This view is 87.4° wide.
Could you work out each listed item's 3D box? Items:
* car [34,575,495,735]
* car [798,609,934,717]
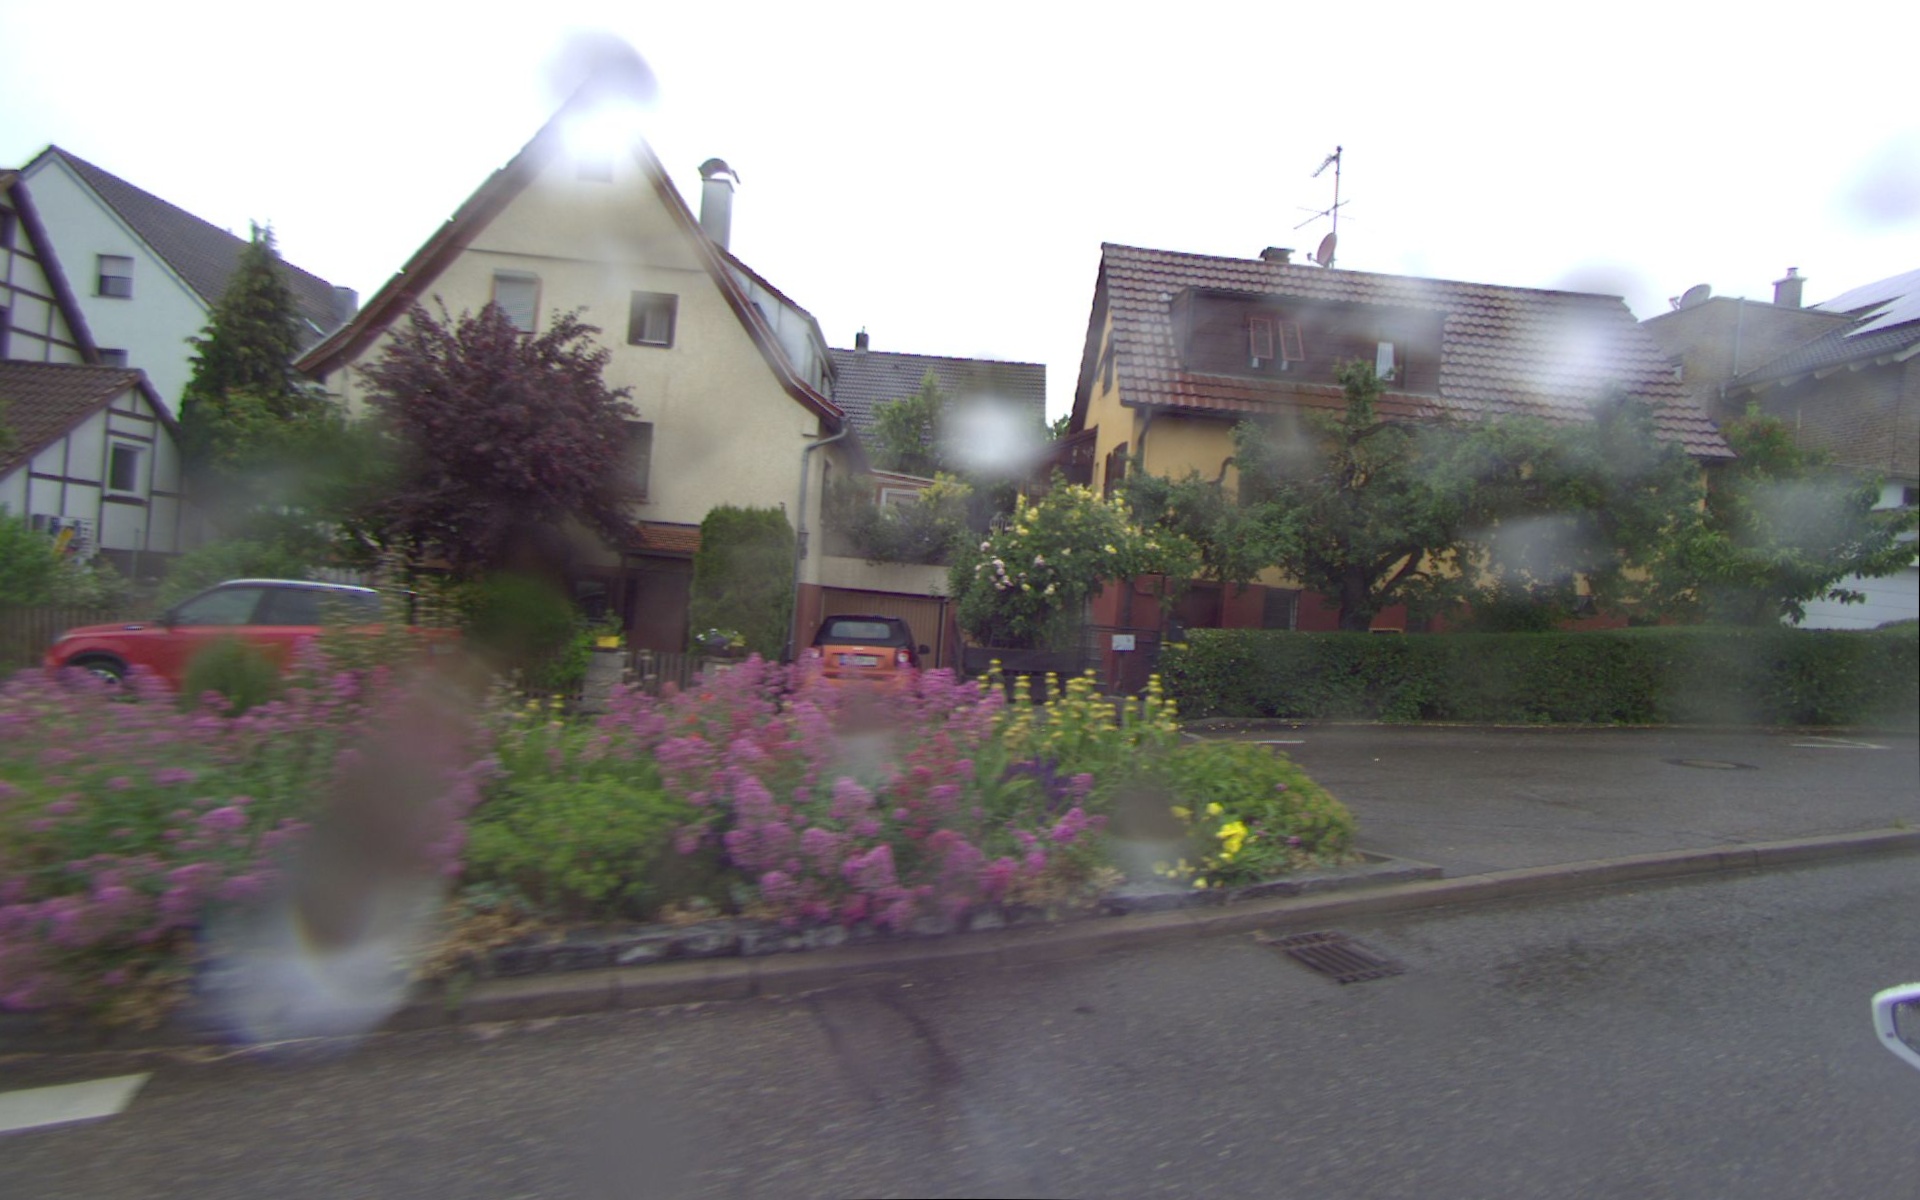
[{"bbox_3d":[-7.706,0.591,11.441,3.941,1.583,1.754,2,0,-2],"label":"car"},{"bbox_3d":[-1.385,0.886,15.767,1.827,1.402,3.998,2,0,-3],"label":"car"}]
